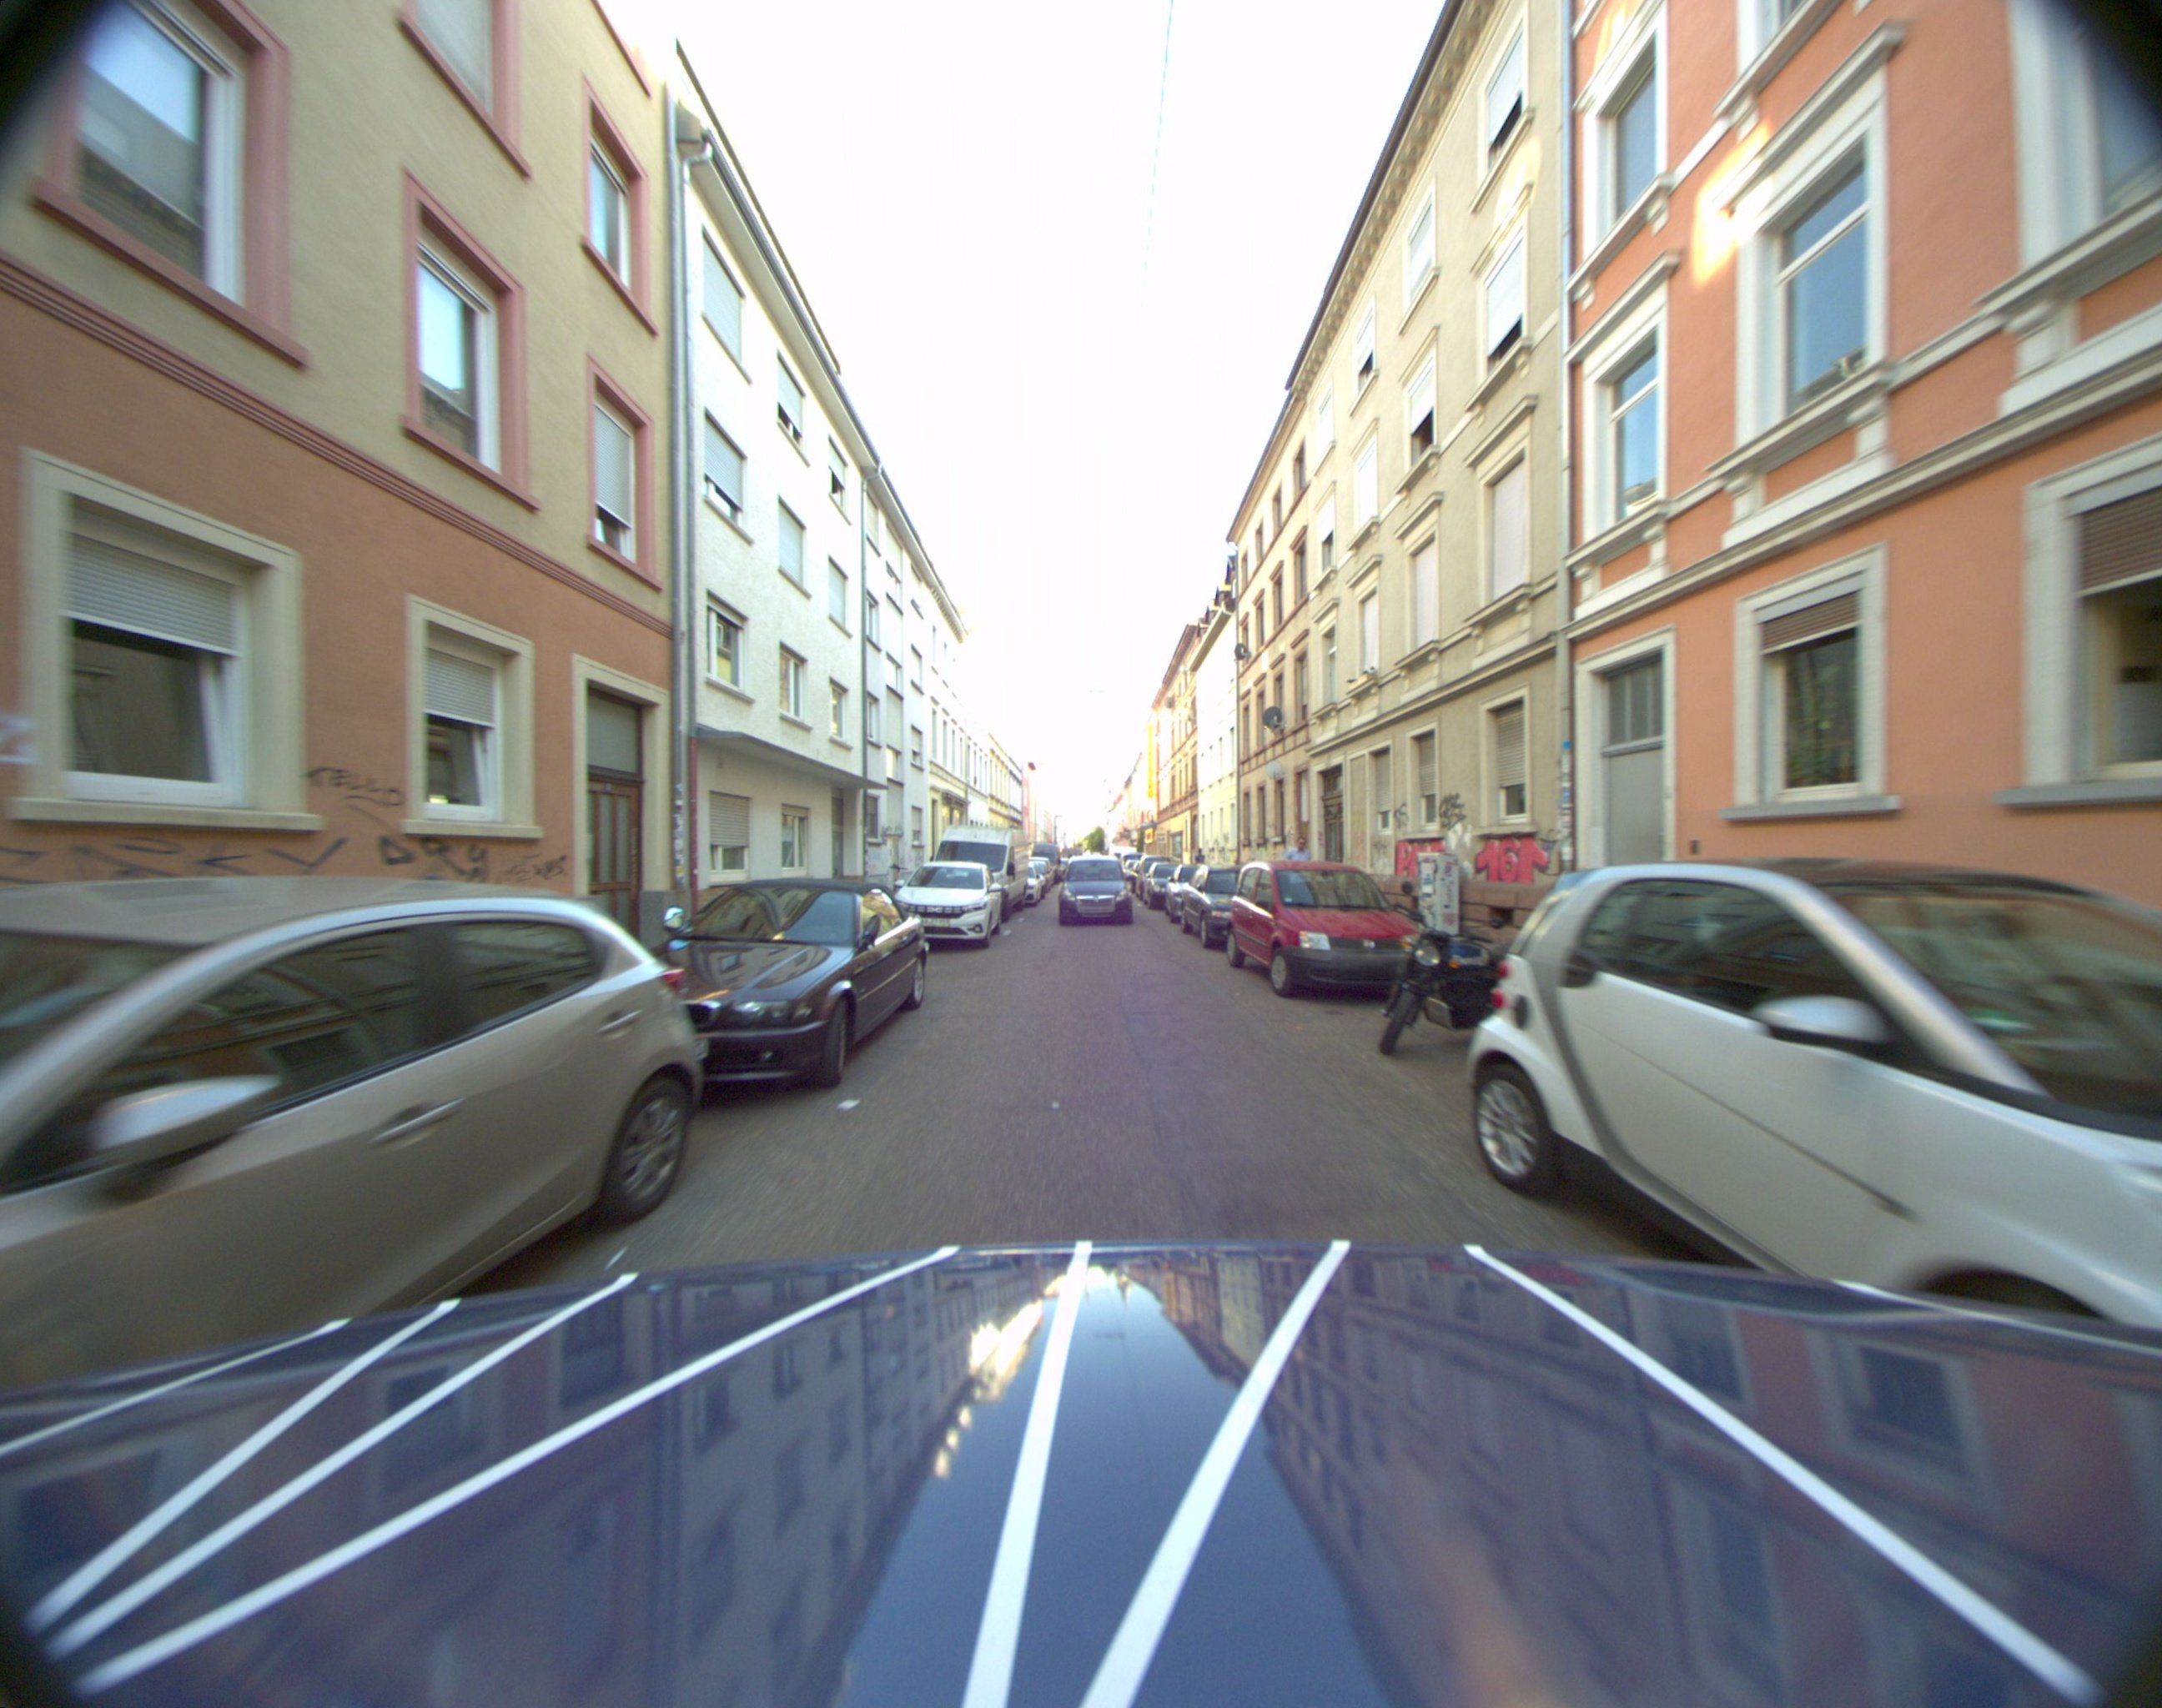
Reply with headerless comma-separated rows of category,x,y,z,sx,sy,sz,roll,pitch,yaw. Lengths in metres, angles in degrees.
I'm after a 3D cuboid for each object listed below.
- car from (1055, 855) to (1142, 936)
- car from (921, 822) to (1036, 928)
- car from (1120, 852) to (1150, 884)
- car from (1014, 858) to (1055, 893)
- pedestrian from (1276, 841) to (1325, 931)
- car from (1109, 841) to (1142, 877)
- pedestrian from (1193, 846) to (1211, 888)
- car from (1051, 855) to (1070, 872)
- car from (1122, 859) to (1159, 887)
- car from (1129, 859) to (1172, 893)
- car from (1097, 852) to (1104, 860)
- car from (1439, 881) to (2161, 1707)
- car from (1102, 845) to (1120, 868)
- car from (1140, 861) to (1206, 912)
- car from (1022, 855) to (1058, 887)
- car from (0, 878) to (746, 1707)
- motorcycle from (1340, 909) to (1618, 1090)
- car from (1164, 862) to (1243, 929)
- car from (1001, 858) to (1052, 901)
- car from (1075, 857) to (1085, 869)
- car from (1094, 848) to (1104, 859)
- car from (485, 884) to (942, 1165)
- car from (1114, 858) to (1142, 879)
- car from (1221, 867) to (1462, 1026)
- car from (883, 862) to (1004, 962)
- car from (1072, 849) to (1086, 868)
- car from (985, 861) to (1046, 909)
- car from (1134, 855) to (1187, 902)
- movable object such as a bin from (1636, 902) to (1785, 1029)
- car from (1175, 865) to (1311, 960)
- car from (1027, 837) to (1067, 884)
car,0.366,0.882,18.688,1.798,1.652,5.184,-2,0,0
car,-2.657,0.500,21.349,2.050,2.498,6.024,-2,0,3
car,3.288,0.807,46.977,1.751,1.880,4.772,-1,0,3
car,-2.164,0.993,36.371,1.683,1.511,3.860,-2,0,0
pedestrian,4.594,0.656,15.918,0.790,1.820,0.594,-2,1,1
car,3.360,0.363,58.294,2.094,2.576,5.842,-1,0,0
pedestrian,5.345,0.555,33.531,0.626,1.820,0.594,-2,1,1
car,-2.026,0.915,75.150,1.683,1.588,3.860,-2,0,0
car,3.105,0.972,40.260,1.683,1.407,3.860,-1,0,1
car,3.165,0.970,35.219,1.683,1.448,3.860,-1,0,1
car,4.566,0.532,178.781,1.683,1.851,4.159,-2,0,0
car,2.792,0.915,2.513,1.684,1.540,2.959,0,0,-3
car,3.132,0.269,79.609,1.683,2.352,4.098,-1,0,1
car,2.899,0.979,24.566,1.683,1.454,3.860,-1,0,1
car,-2.224,0.900,41.655,1.683,1.625,3.860,-2,0,0
car,-2.729,0.955,1.927,1.683,1.588,4.191,-2,0,3
motorcycle,3.232,1.093,6.162,2.083,1.121,0.789,-2,0,-21
car,3.015,0.977,19.357,1.683,1.454,3.861,-1,0,5
car,-2.174,0.991,31.208,1.683,1.556,3.860,-2,0,1
car,-0.112,1.539,136.728,1.683,2.077,4.159,-2,0,0
car,4.828,-0.109,208.871,2.565,3.029,7.061,-2,0,0
car,-2.533,1.073,6.641,1.772,1.386,4.494,-2,0,0
car,3.190,0.962,52.255,1.683,1.381,3.860,-1,0,1
car,2.913,0.947,9.326,1.683,1.483,3.611,-1,0,-1
car,-2.460,0.977,14.435,1.684,1.550,3.859,-2,0,-2
car,-0.396,0.813,143.585,2.437,3.404,5.543,-2,0,0
car,-2.205,1.025,26.380,1.683,1.434,3.860,-2,0,1
car,3.042,0.891,29.630,1.683,1.674,3.860,-1,0,1
movable object such as a bin,5.729,0.997,6.959,0.779,1.043,0.662,-3,0,9
car,2.870,0.974,14.370,1.683,1.454,4.313,-1,0,1
car,-2.082,0.378,47.824,2.050,2.662,6.185,-2,0,1
